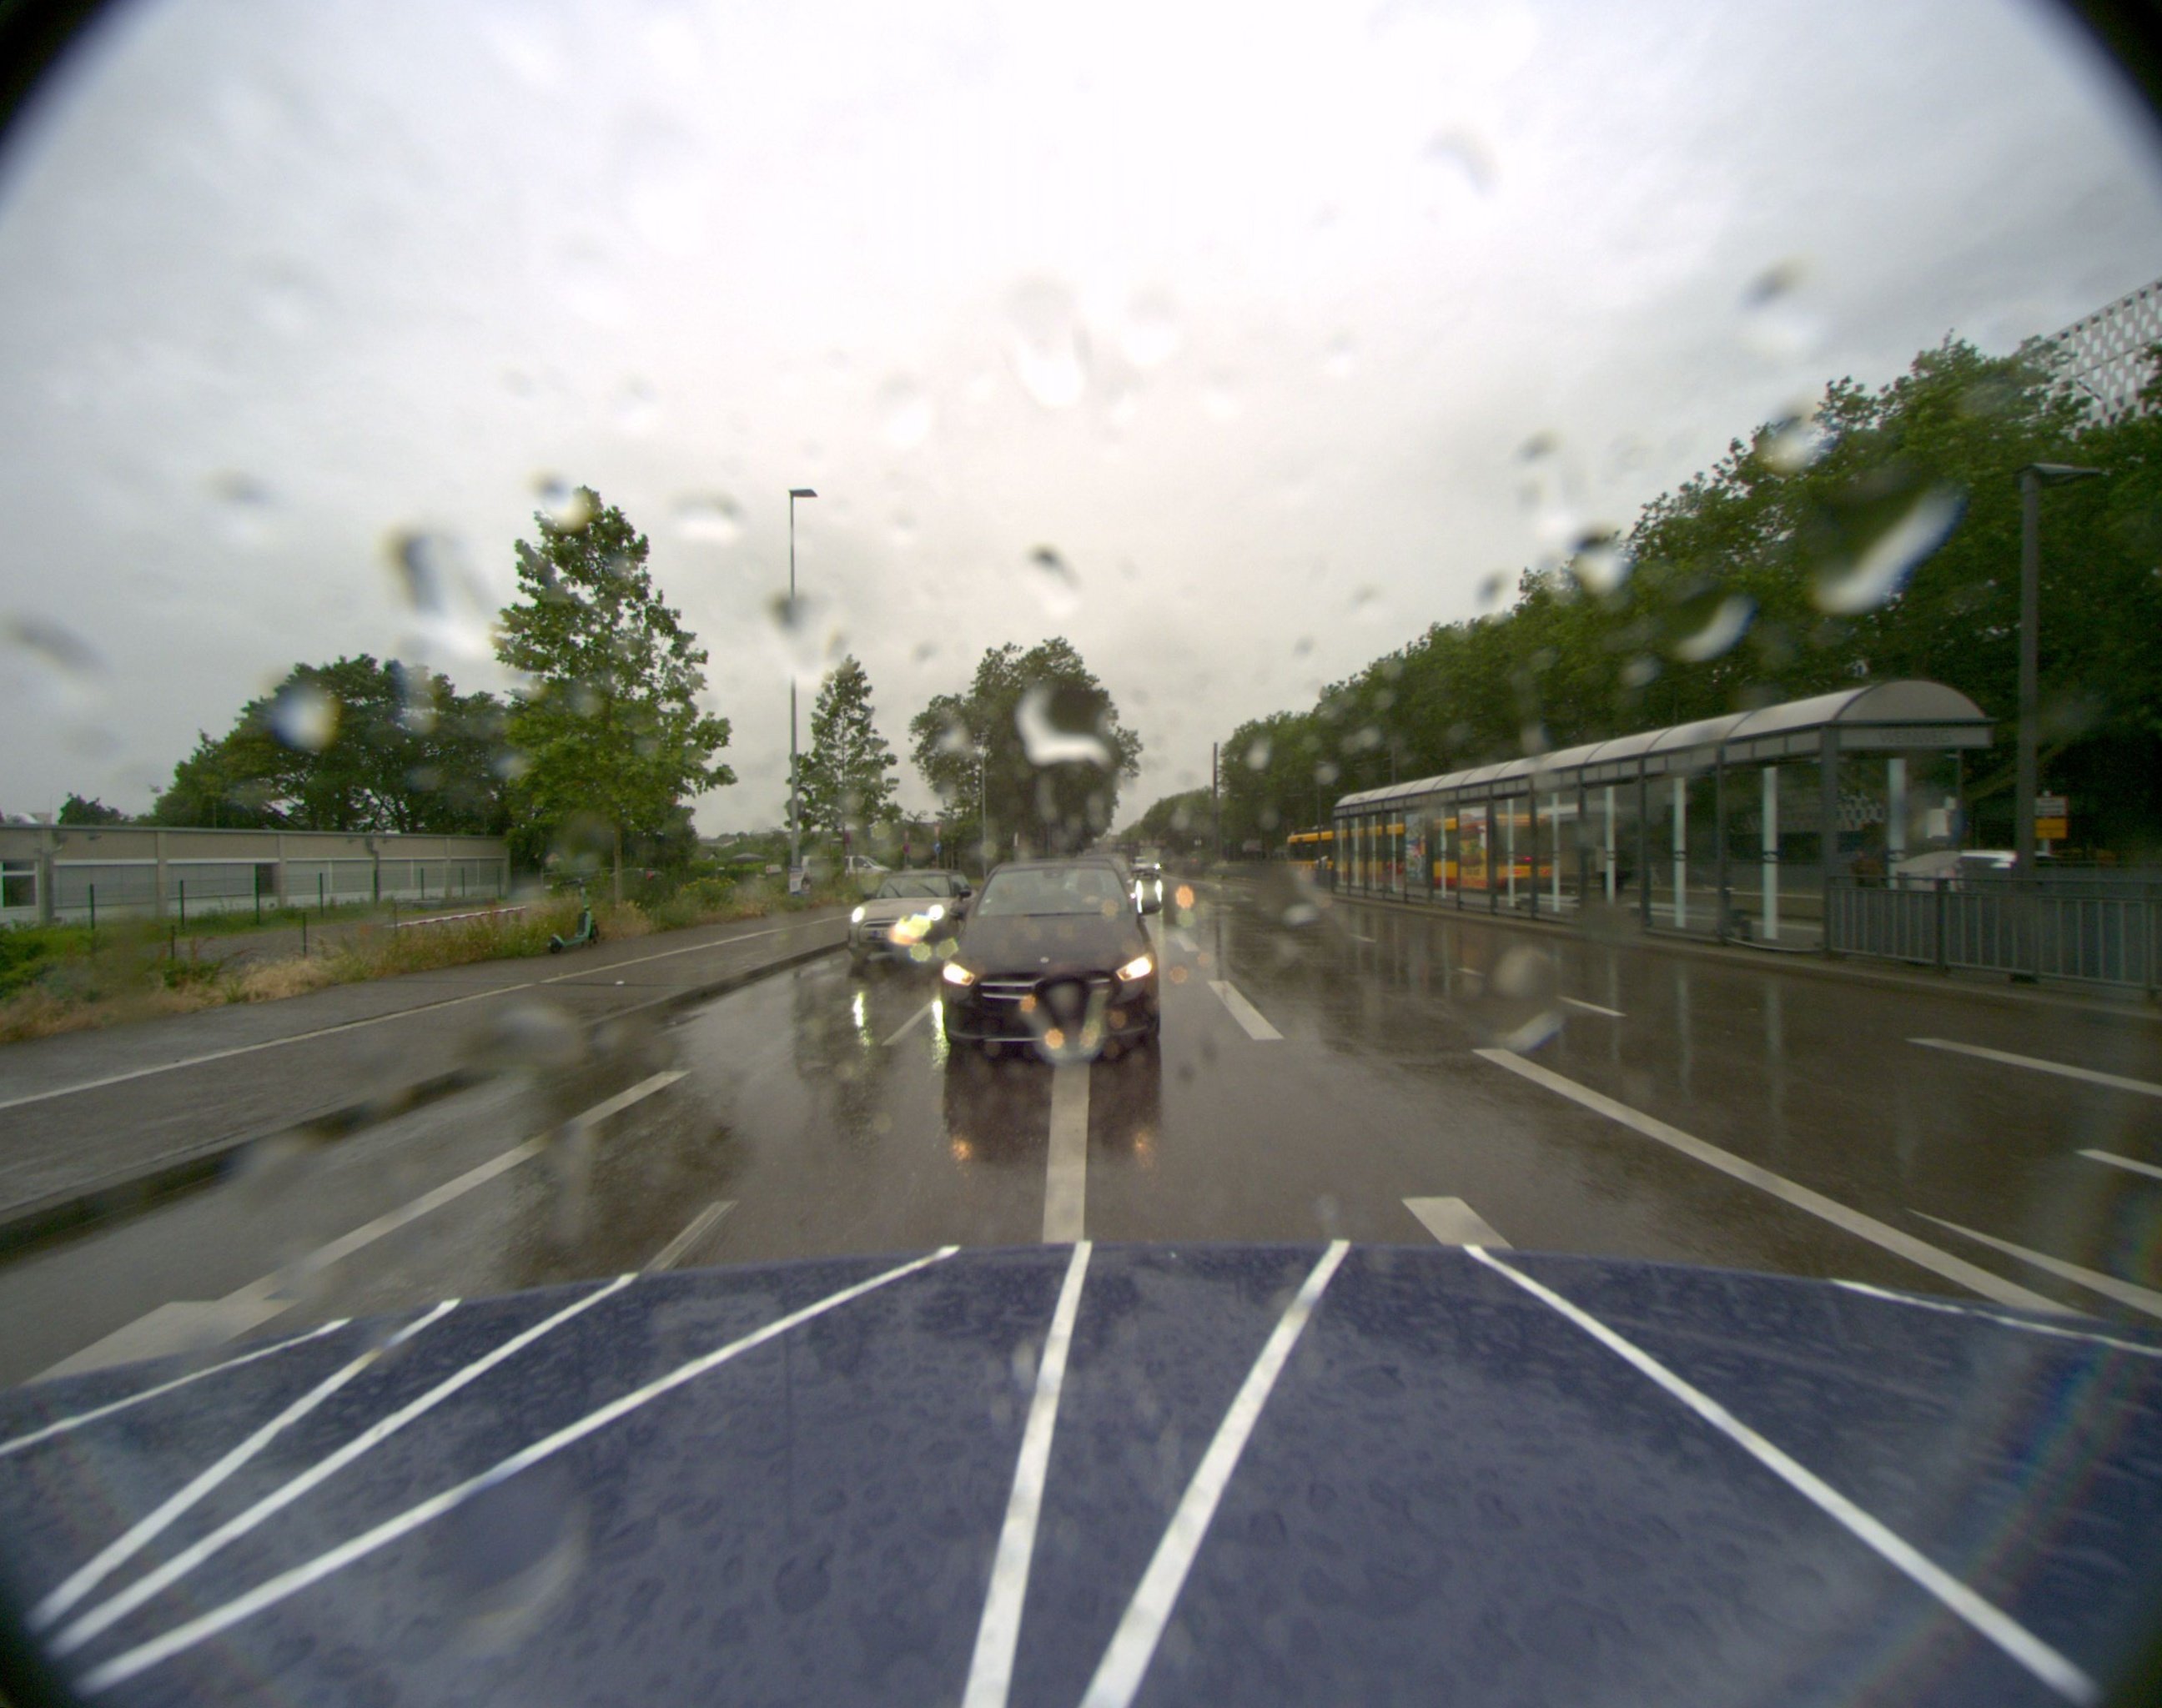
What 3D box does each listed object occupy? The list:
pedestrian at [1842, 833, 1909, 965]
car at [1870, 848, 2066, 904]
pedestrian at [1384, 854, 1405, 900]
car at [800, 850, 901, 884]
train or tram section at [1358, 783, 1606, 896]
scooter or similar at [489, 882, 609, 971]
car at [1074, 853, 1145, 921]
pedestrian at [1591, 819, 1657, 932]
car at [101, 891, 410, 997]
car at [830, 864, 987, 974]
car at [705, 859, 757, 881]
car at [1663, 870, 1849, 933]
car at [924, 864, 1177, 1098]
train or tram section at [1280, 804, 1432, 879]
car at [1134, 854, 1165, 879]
[{"bbox_3d":[9.158,0.506,8.771,0.321,1.485,0.415,-3,2,6],"label":"pedestrian"},{"bbox_3d":[25.824,0.575,22.298,1.585,1.455,3.427,-3,1,-6],"label":"car"},{"bbox_3d":[8.624,0.640,20.891,0.458,1.229,0.467,-1,2,15],"label":"pedestrian"},{"bbox_3d":[-13.427,0.721,44.480,5.174,1.715,2.006,-2,1,-1],"label":"car"},{"bbox_3d":[16.572,-0.572,33.432,3.751,3.817,13.252,-2,1,0],"label":"train or tram section"},{"bbox_3d":[-8.236,1.078,11.876,0.367,1.192,1.913,-2,1,4],"label":"scooter or similar"},{"bbox_3d":[0.732,0.783,20.150,1.689,1.611,4.000,0,0,2],"label":"car"},{"bbox_3d":[9.274,0.354,13.007,0.655,1.860,0.773,-2,1,17],"label":"pedestrian"},{"bbox_3d":[-12.074,1.294,11.215,3.243,1.281,1.345,-2,1,6],"label":"car"},{"bbox_3d":[-2.831,1.004,13.340,1.707,1.499,3.879,-2,1,2],"label":"car"},{"bbox_3d":[-28.295,1.299,61.404,3.552,1.575,1.345,-2,1,6],"label":"car"},{"bbox_3d":[16.524,1.100,18.858,1.539,1.311,3.549,0,0,2],"label":"car"},{"bbox_3d":[-0.353,0.925,7.519,1.759,1.572,4.167,-2,0,-4],"label":"car"},{"bbox_3d":[16.552,-0.751,47.852,3.751,3.777,15.569,-2,1,0],"label":"train or tram section"},{"bbox_3d":[5.231,0.929,58.739,1.935,1.765,4.663,-2,1,1],"label":"car"}]
